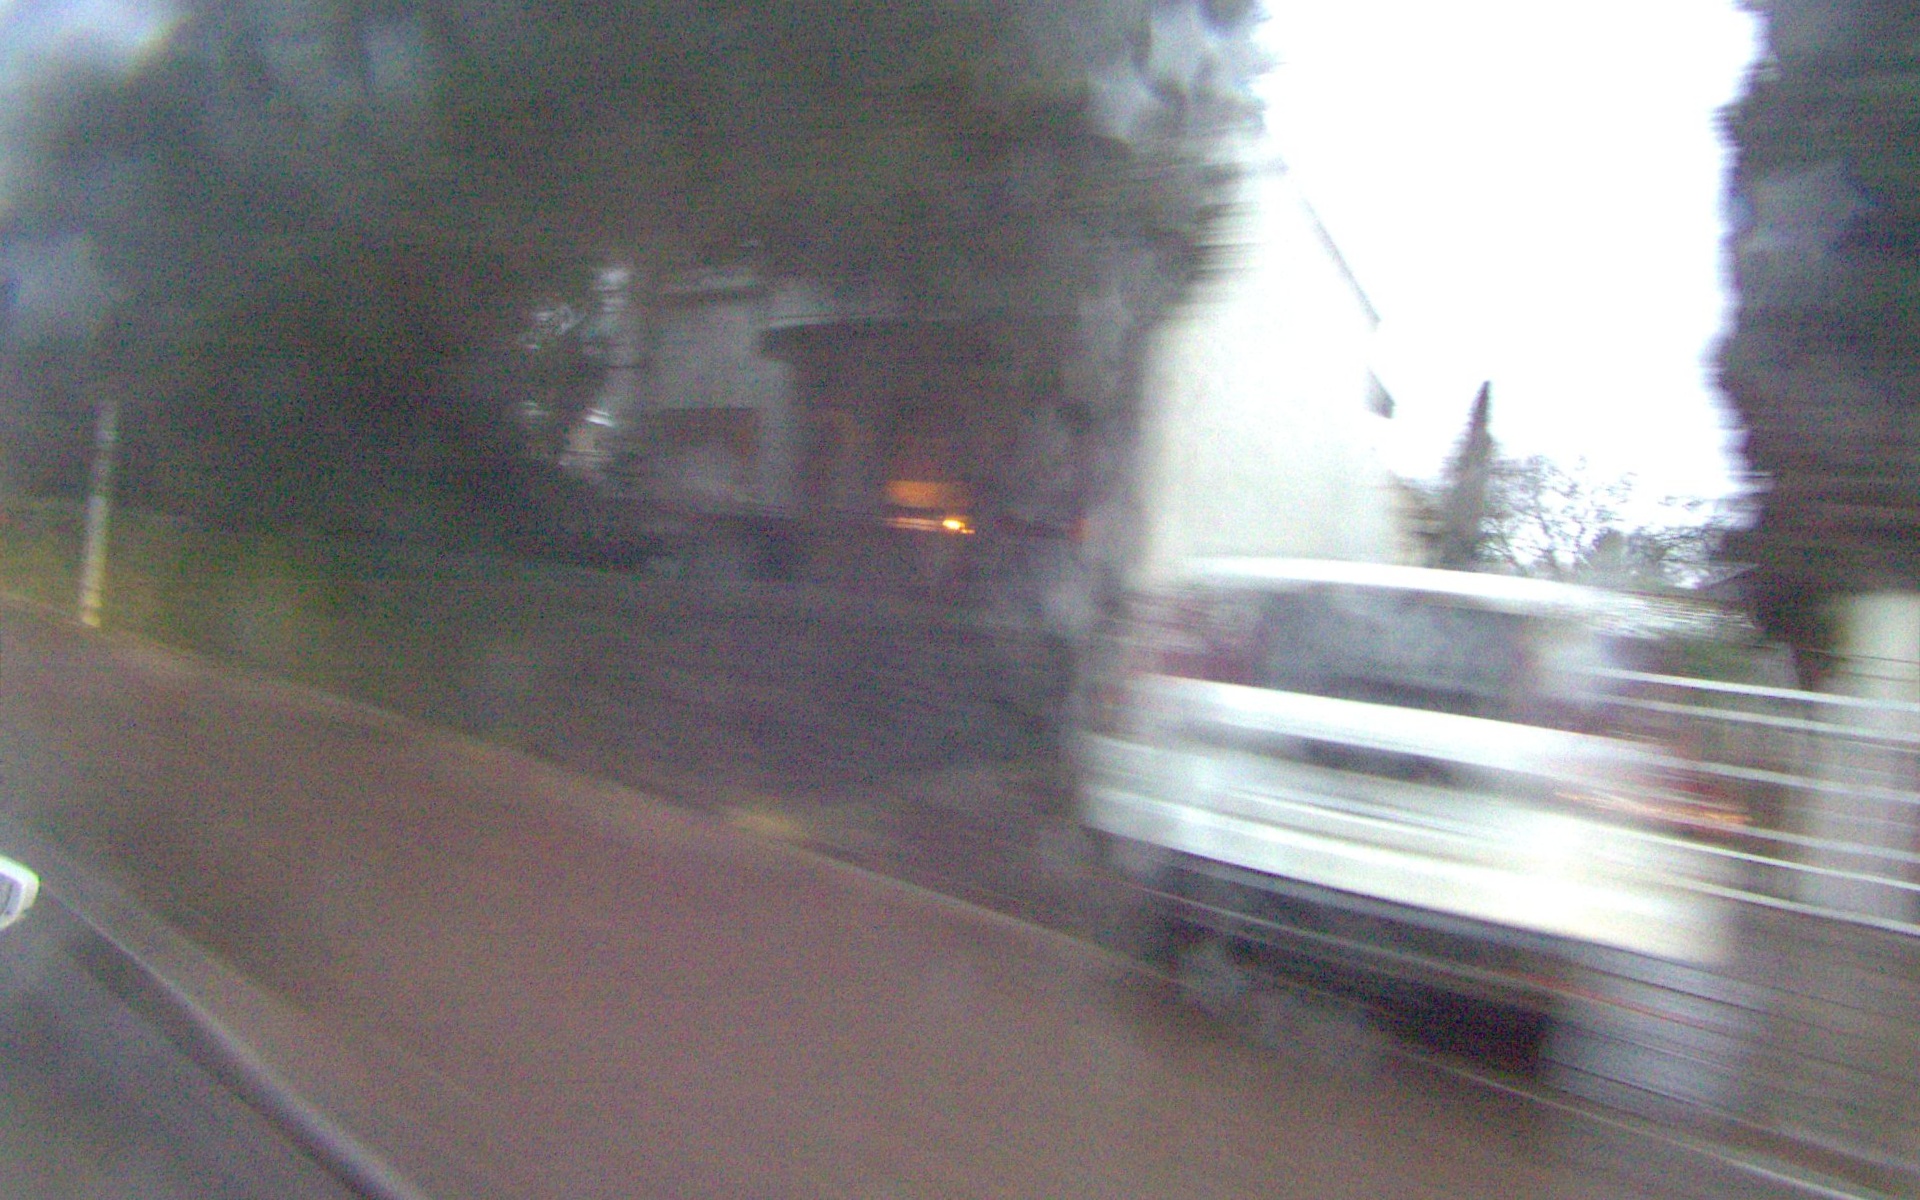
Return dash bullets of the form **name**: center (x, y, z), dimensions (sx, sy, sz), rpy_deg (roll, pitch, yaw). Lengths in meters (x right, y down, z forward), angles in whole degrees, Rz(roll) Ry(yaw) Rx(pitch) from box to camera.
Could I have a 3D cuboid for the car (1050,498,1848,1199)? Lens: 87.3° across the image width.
- **car**: center (2.258, 0.693, 4.916), dimensions (1.965, 1.755, 4.328), rpy_deg (7, 1, 28)
